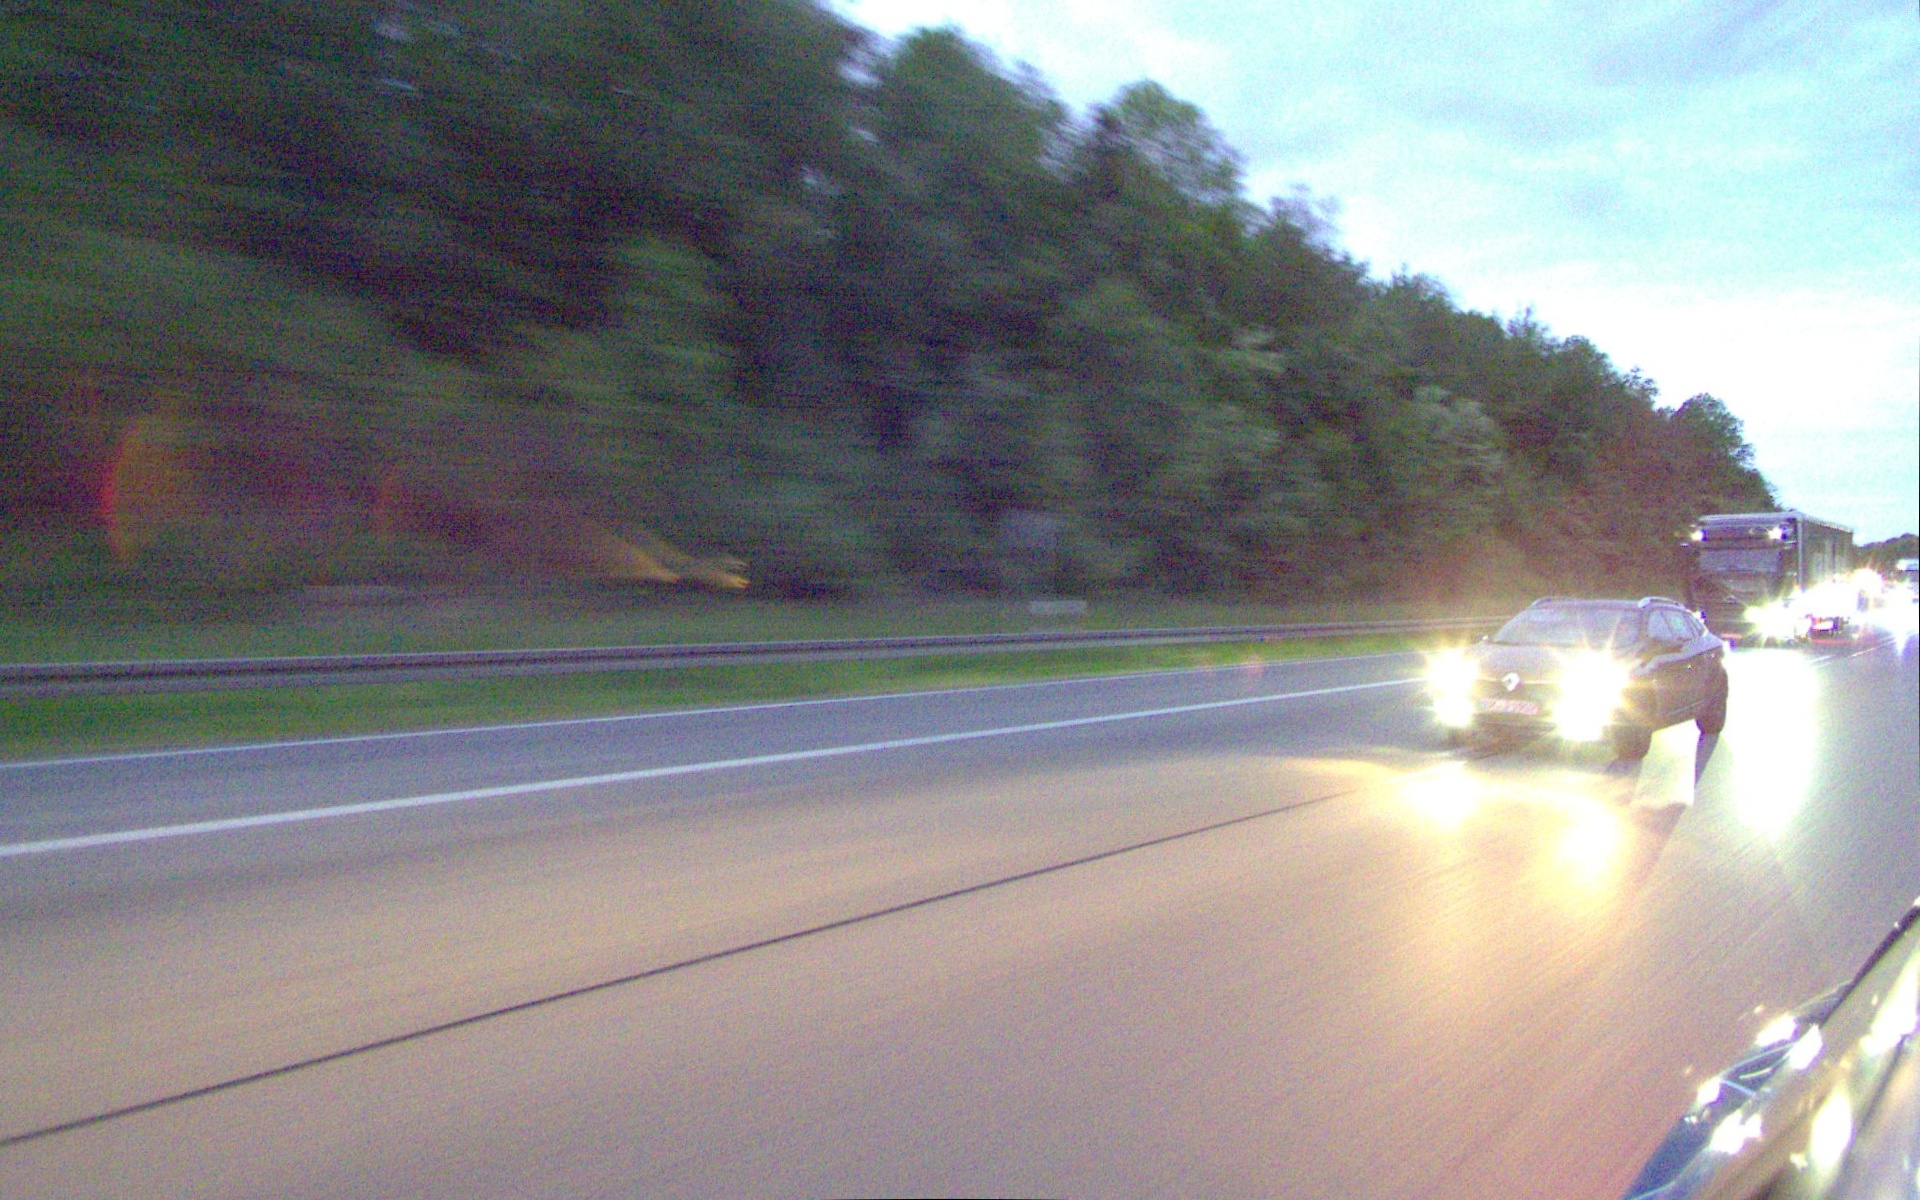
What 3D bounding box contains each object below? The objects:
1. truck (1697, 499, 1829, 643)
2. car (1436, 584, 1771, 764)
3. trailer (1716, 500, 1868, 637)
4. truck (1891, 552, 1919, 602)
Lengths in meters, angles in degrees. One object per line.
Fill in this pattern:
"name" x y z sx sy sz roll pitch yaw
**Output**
"truck" 24.783 -0.876 31.138 5.499 4.017 2.494 -1 1 -44
"car" 7.155 0.614 11.011 4.862 1.508 1.695 -1 1 -40
"trailer" 29.792 -1.087 35.905 13.279 4.124 2.485 -1 1 -43
"truck" 82.388 -1.964 86.469 13.313 4.017 3.336 -1 1 -44
